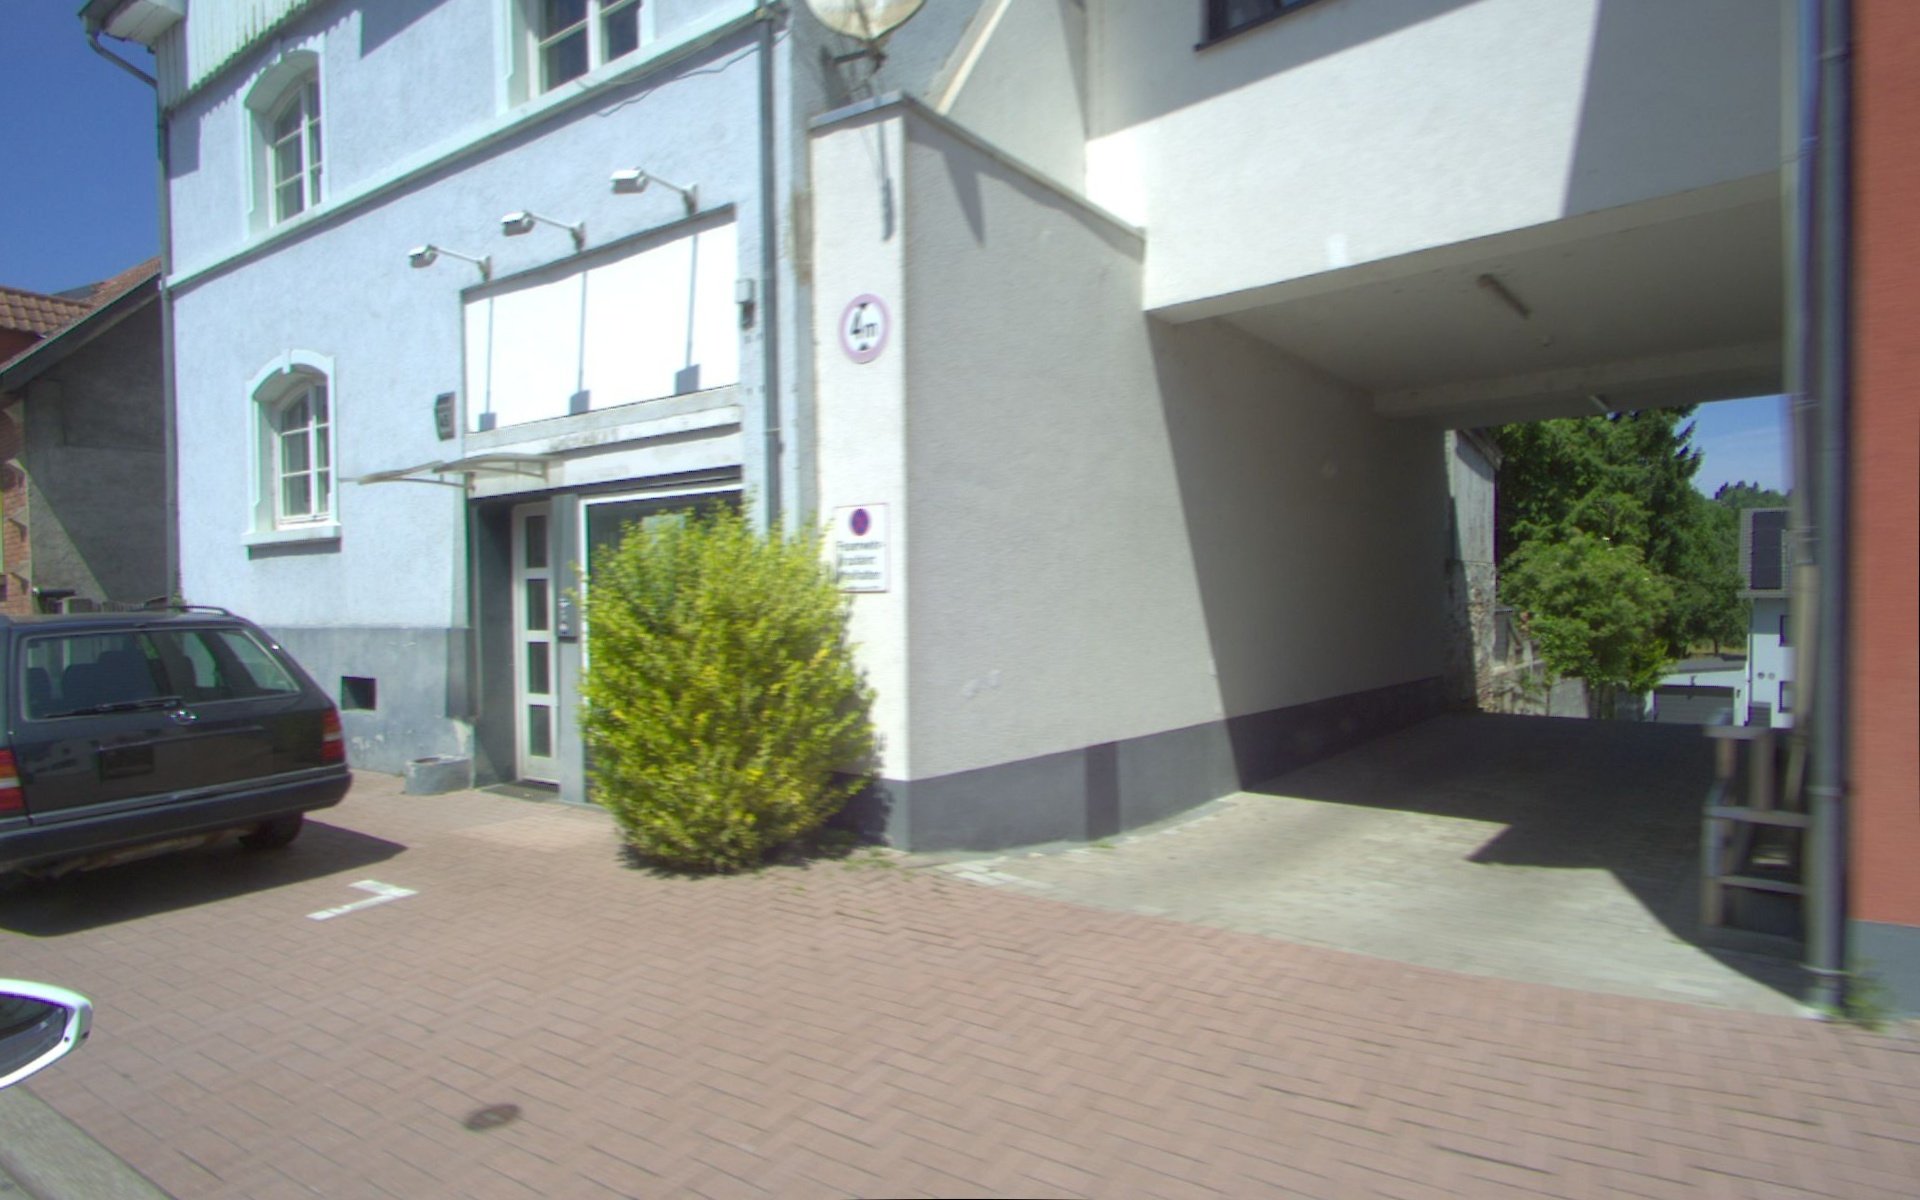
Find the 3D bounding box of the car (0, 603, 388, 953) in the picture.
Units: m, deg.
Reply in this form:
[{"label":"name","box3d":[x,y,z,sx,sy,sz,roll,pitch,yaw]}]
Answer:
[{"label":"car","box3d":[-5.647,0.790,6.196,4.512,1.485,1.766,0,1,33]}]
